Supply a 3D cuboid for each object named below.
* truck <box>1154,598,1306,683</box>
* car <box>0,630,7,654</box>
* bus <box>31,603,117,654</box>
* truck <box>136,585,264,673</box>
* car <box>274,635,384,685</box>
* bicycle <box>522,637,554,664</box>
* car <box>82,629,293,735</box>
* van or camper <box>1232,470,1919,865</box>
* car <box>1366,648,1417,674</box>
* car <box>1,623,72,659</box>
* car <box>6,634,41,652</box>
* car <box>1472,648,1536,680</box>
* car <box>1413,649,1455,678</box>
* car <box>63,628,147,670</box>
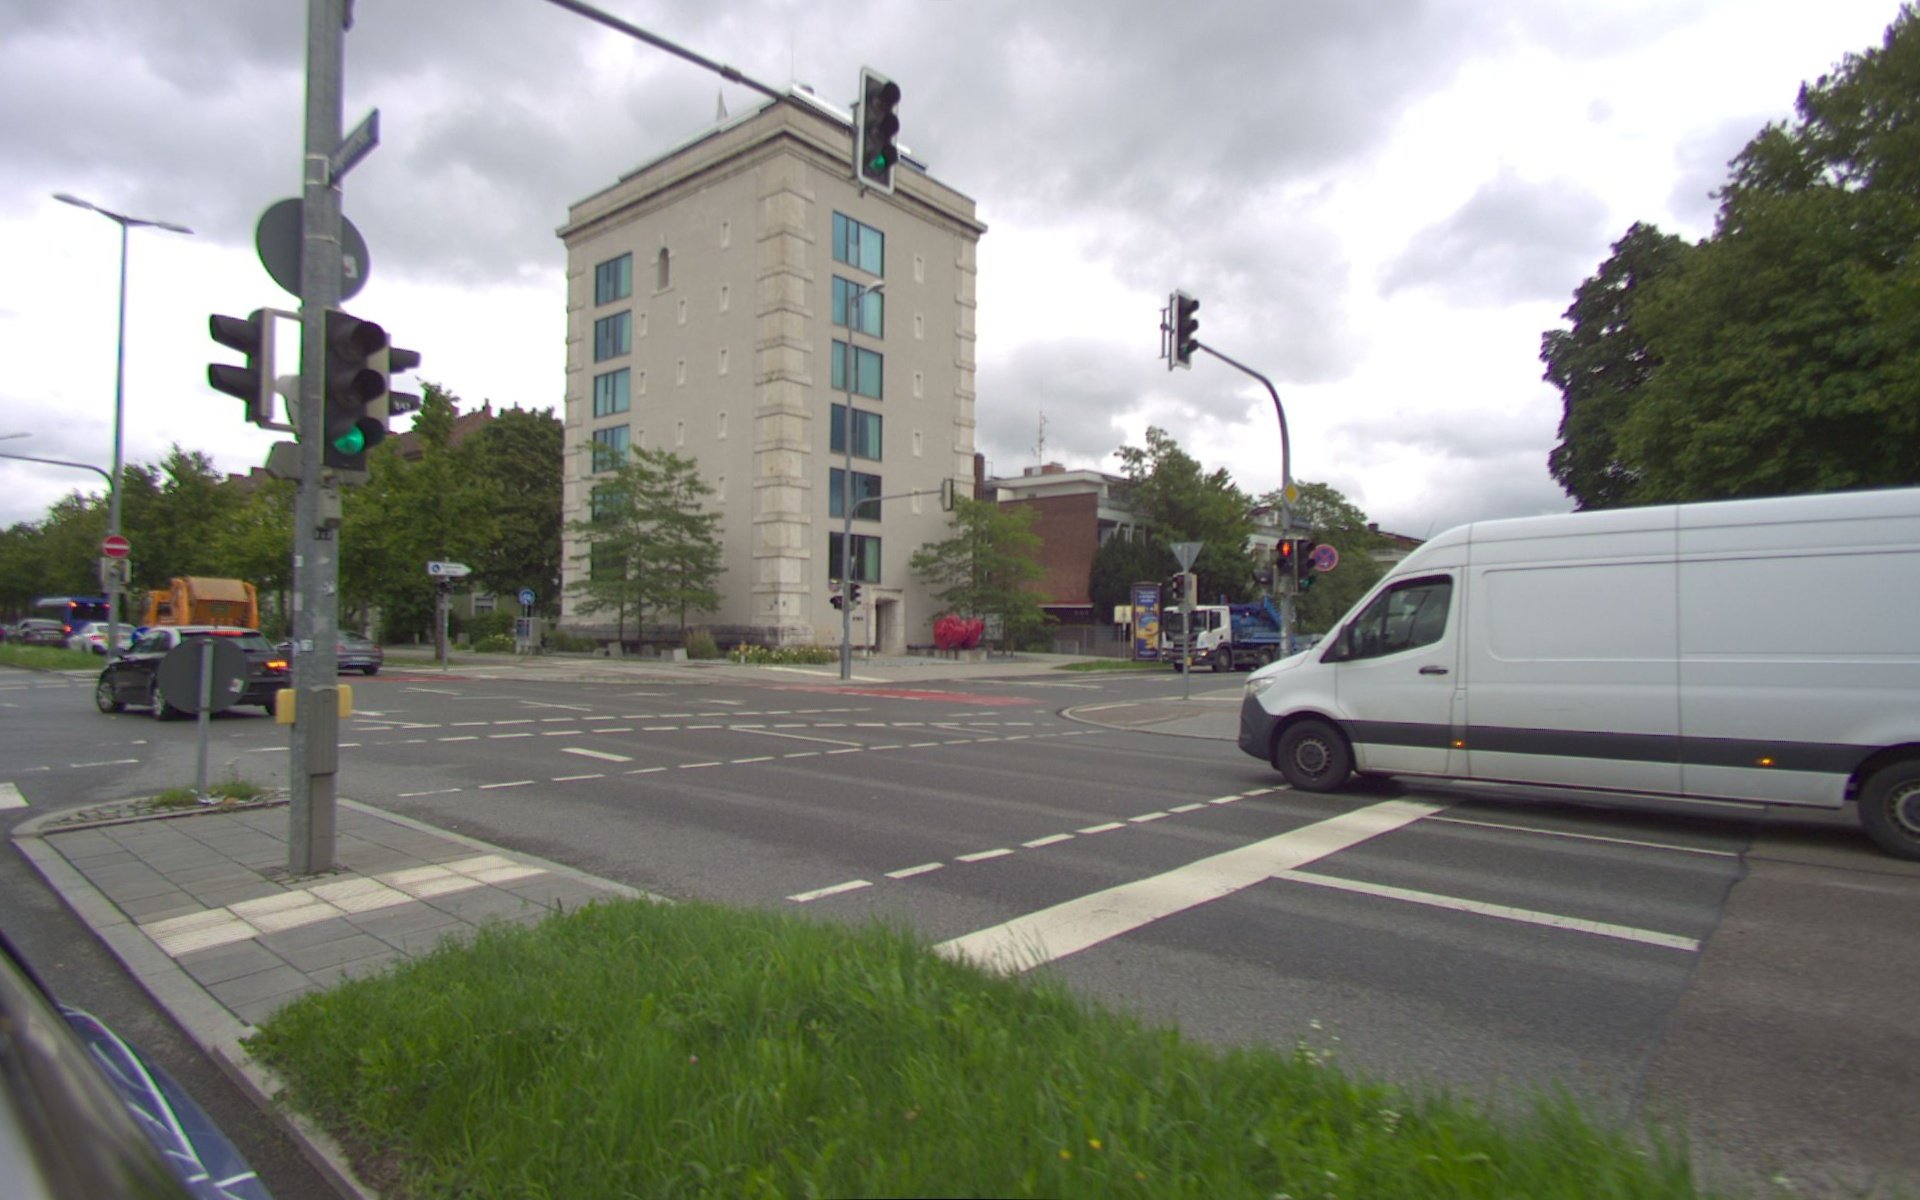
[{"bbox_3d":[12.305,1.800,45.691,7.701,3.515,2.776,2,-3,-41],"label":"truck"},{"bbox_3d":[-61.218,2.565,63.197,4.894,1.473,1.906,-1,-4,40],"label":"car"},{"bbox_3d":[-64.279,2.096,73.304,12.038,3.369,2.717,-1,-4,40],"label":"bus"},{"bbox_3d":[-31.876,1.216,42.339,7.262,3.382,2.752,-1,-3,41],"label":"truck"},{"bbox_3d":[-19.366,1.816,30.995,4.214,1.427,1.705,-2,-4,42],"label":"car"},{"bbox_3d":[-19.059,2.248,45.663,1.825,1.190,0.539,-2,-2,40],"label":"bicycle"},{"bbox_3d":[-12.262,1.205,15.996,3.773,1.498,1.625,-1,-2,36],"label":"car"},{"bbox_3d":[6.040,0.542,8.680,6.948,2.667,2.155,-2,-5,42],"label":"van or camper"},{"bbox_3d":[28.796,4.063,67.513,1.926,1.603,4.158,-2,-3,41],"label":"car"},{"bbox_3d":[-43.563,1.918,47.710,4.747,1.553,1.842,-2,-6,42],"label":"car"},{"bbox_3d":[-82.112,3.722,88.697,3.908,1.473,1.833,-2,-1,41],"label":"car"},{"bbox_3d":[26.051,3.029,48.409,1.843,1.427,4.157,-2,-3,41],"label":"car"},{"bbox_3d":[25.866,3.454,55.153,1.923,1.473,4.324,0,-4,27],"label":"car"},{"bbox_3d":[-32.984,1.846,39.000,4.740,1.498,1.709,-1,-3,41],"label":"car"}]
